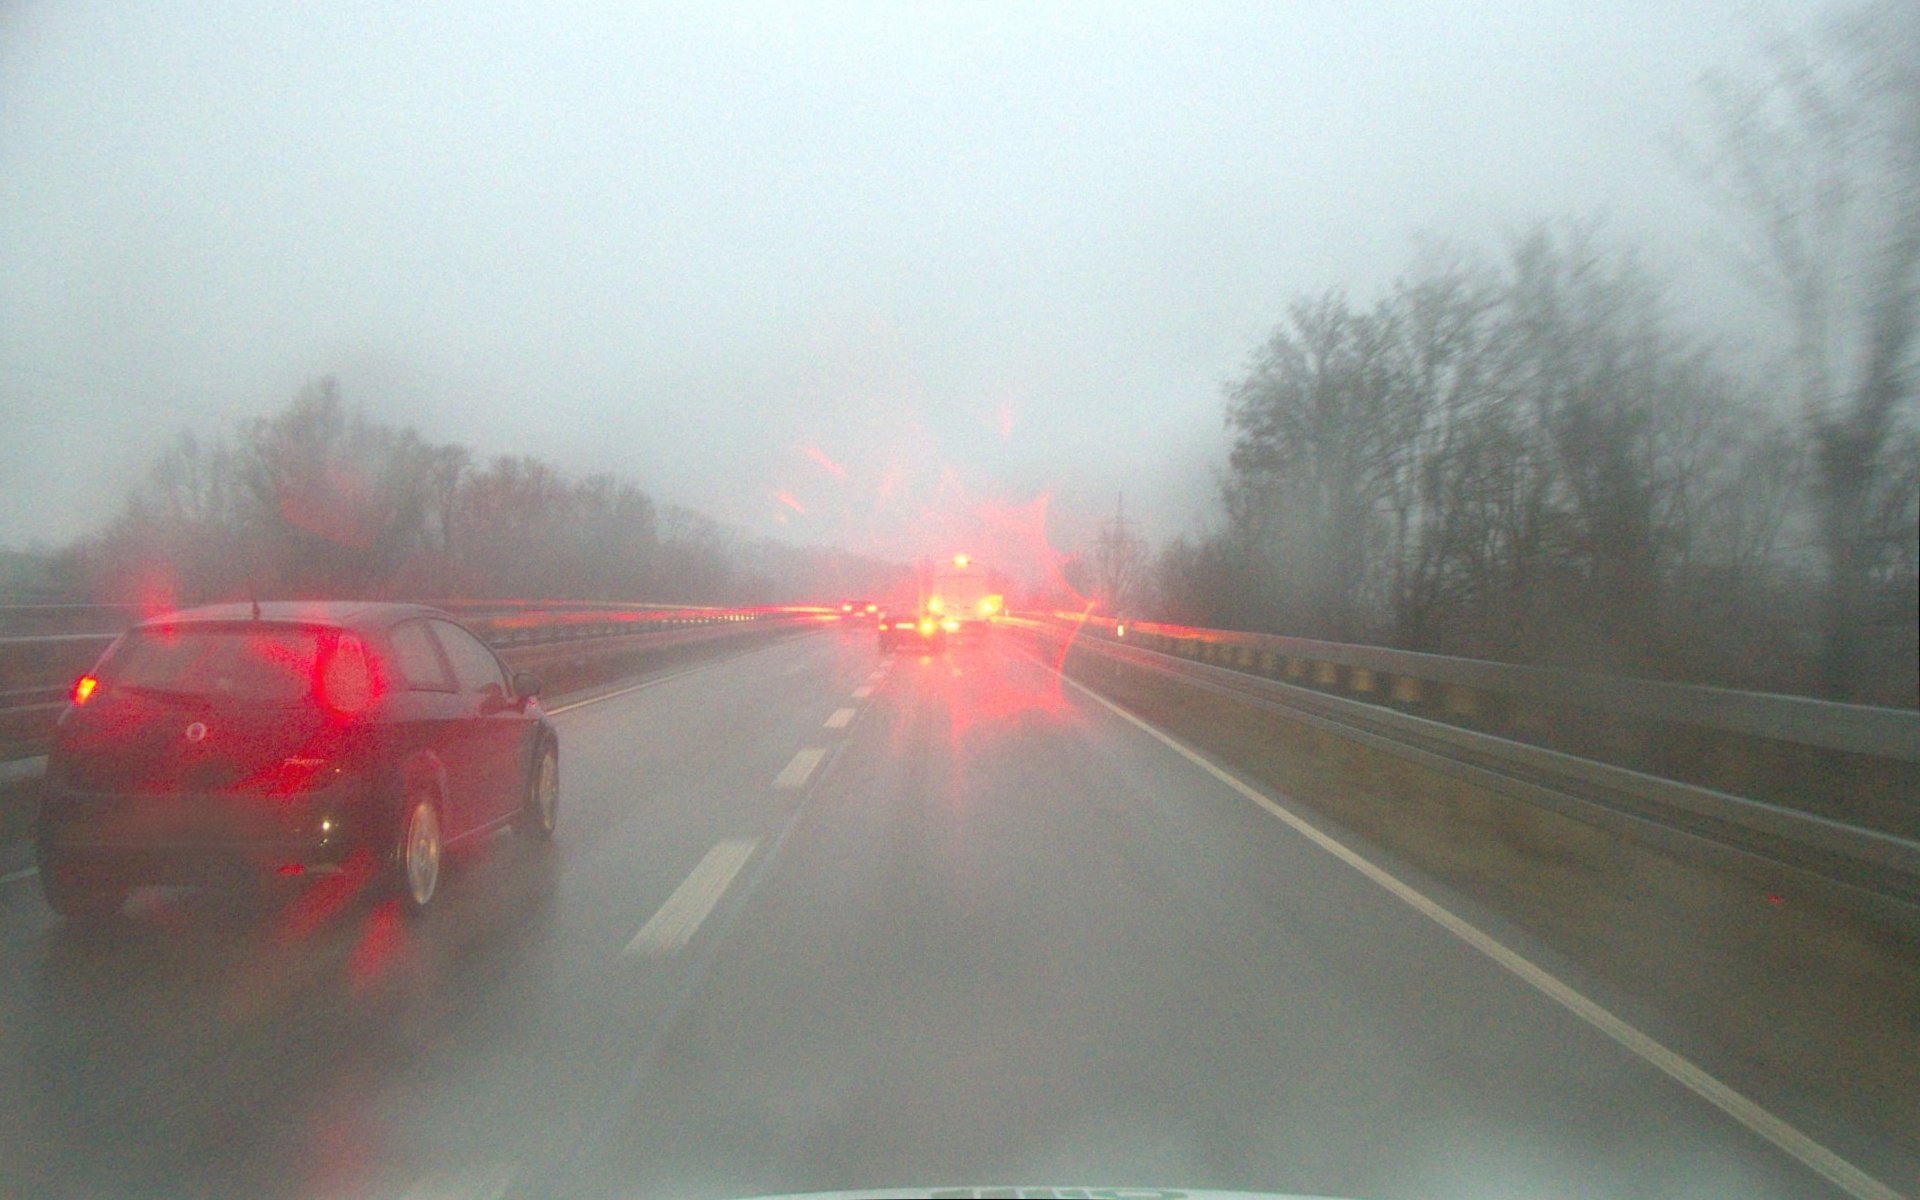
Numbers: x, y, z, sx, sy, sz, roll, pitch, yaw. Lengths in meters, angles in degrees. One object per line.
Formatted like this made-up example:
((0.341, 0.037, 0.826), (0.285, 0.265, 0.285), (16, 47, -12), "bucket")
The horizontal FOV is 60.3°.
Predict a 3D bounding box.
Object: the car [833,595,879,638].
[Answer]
((-4.846, 0.754, 77.645), (1.954, 1.846, 3.998), (3, -1, -2), "car")

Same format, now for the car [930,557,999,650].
((0.098, 0.207, 57.168), (2.235, 3.018, 6.388), (0, -2, -1), "car")

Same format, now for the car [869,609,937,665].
((-1.598, 1.053, 47.761), (1.701, 1.439, 4.377), (3, -1, 1), "car")

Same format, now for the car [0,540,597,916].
((-3.273, 0.609, 8.931), (1.695, 1.560, 4.041), (0, -2, 0), "car")
